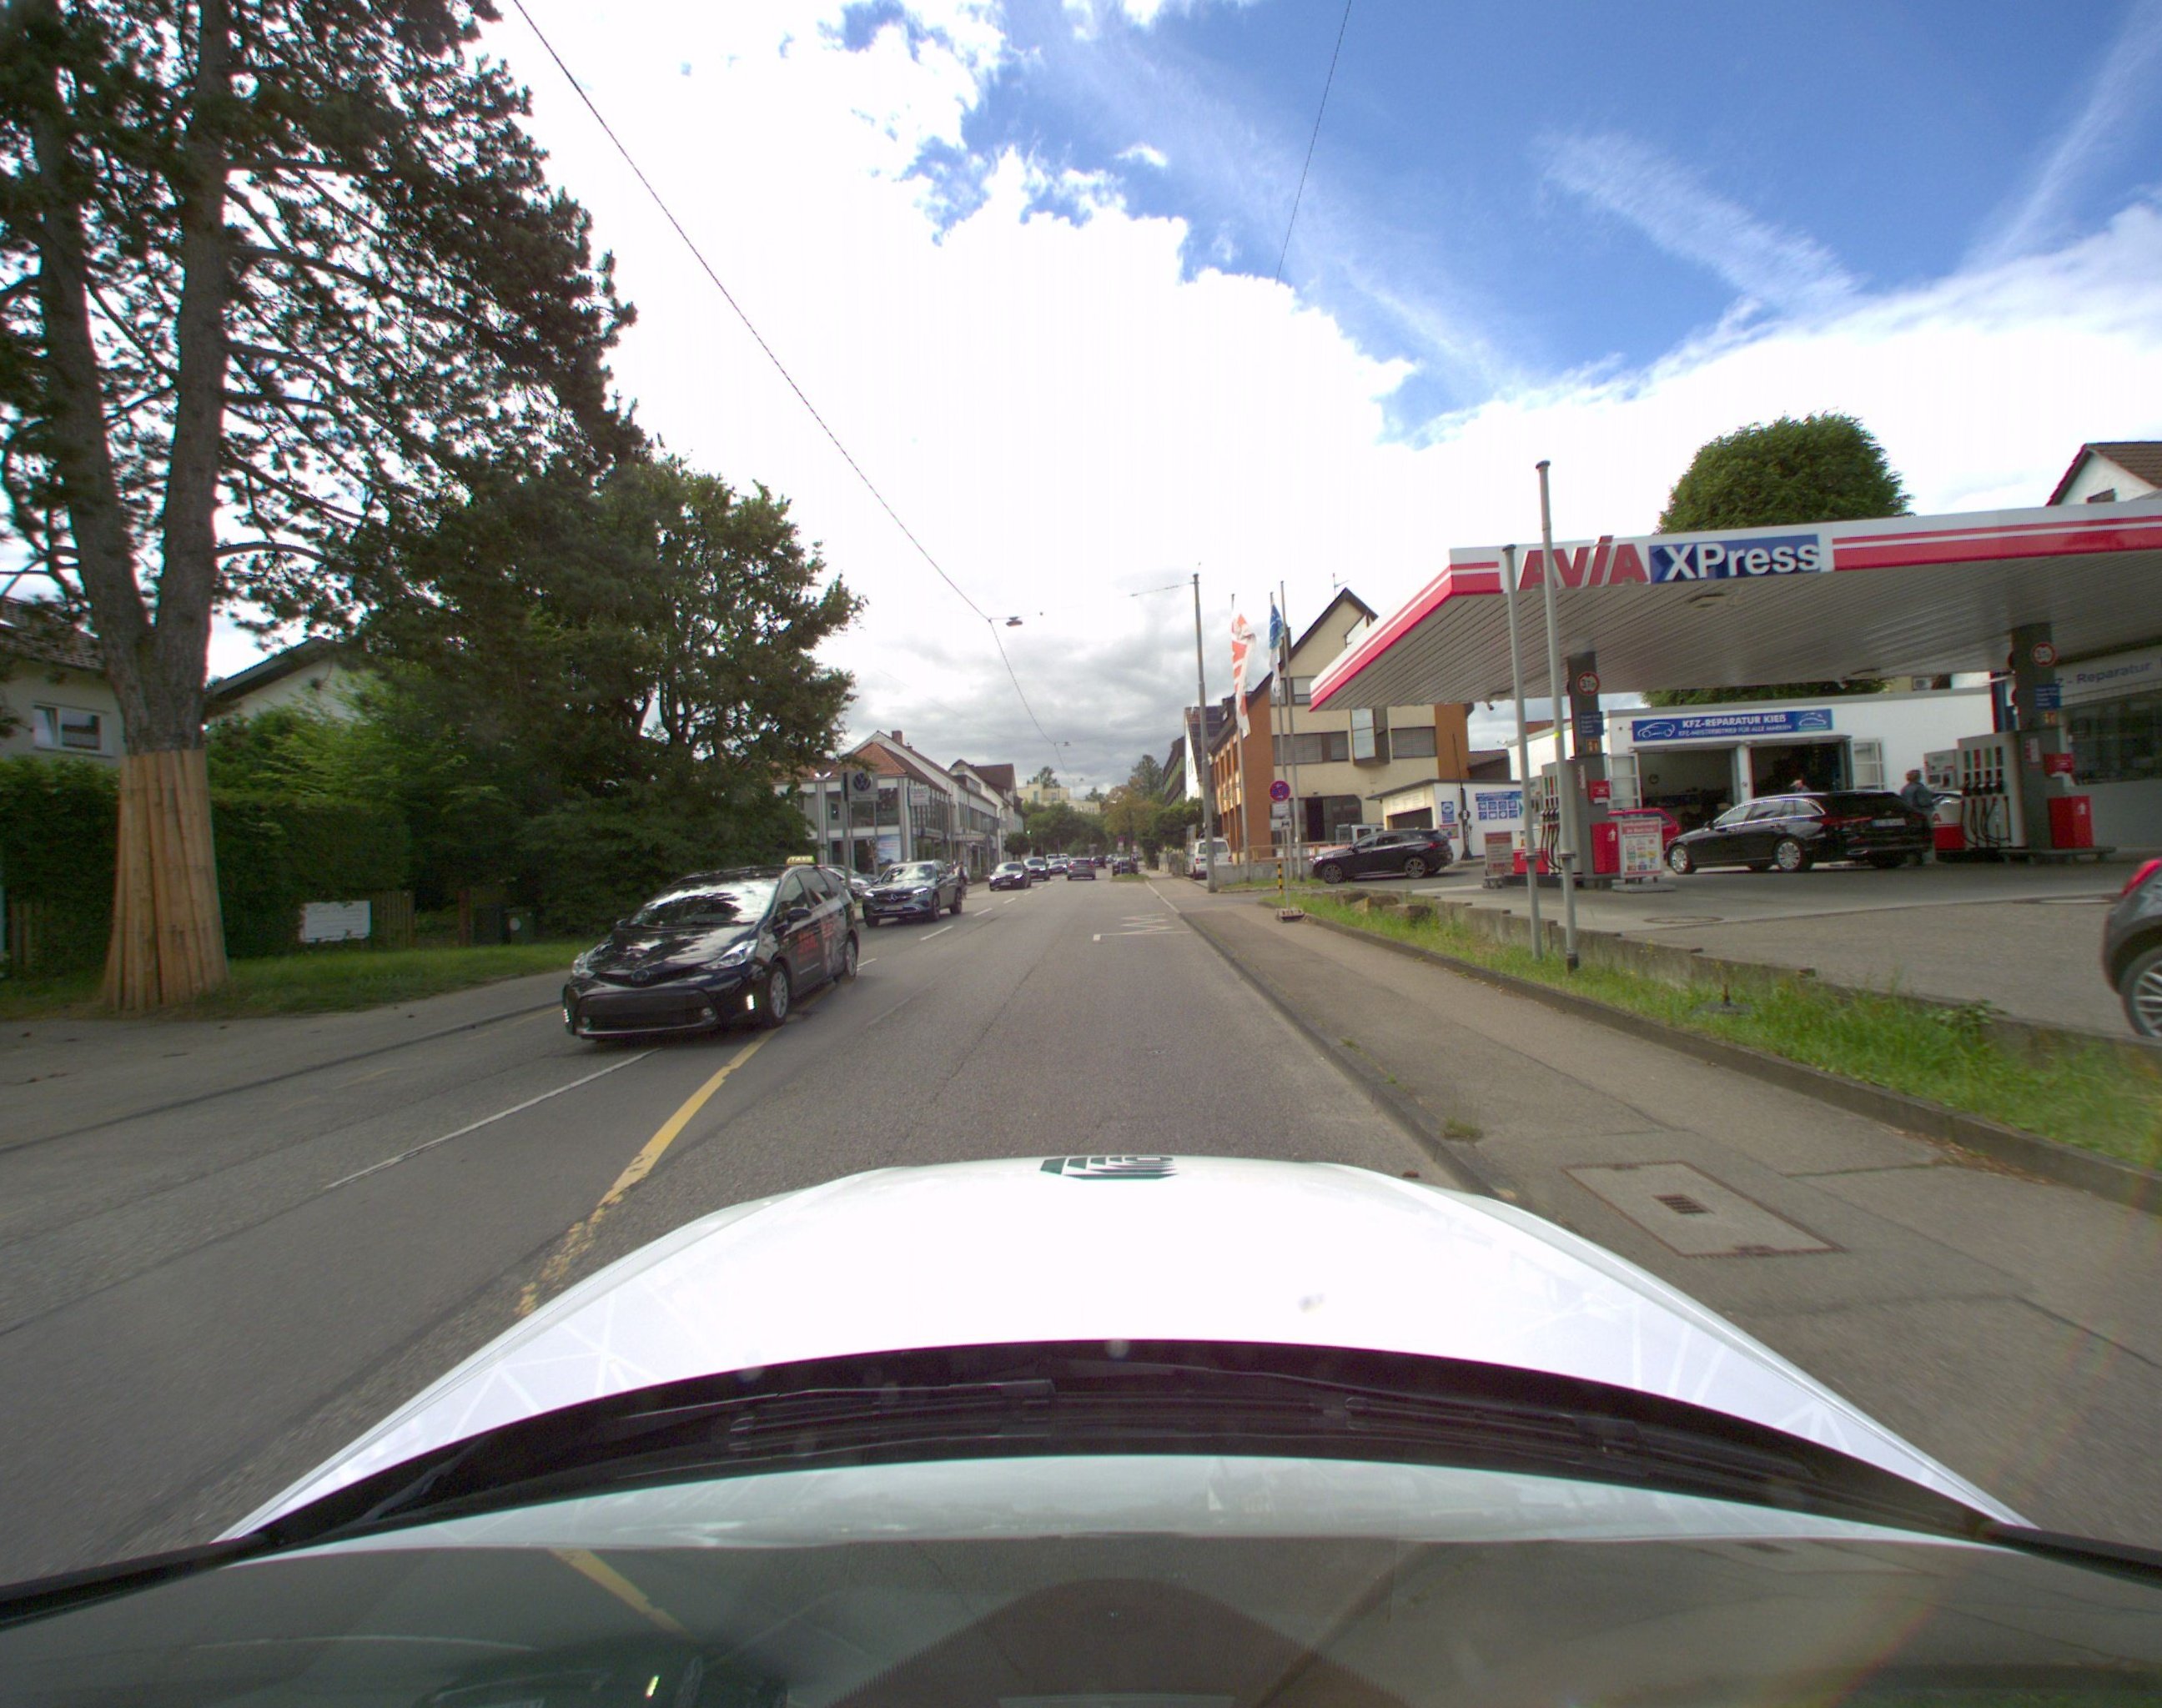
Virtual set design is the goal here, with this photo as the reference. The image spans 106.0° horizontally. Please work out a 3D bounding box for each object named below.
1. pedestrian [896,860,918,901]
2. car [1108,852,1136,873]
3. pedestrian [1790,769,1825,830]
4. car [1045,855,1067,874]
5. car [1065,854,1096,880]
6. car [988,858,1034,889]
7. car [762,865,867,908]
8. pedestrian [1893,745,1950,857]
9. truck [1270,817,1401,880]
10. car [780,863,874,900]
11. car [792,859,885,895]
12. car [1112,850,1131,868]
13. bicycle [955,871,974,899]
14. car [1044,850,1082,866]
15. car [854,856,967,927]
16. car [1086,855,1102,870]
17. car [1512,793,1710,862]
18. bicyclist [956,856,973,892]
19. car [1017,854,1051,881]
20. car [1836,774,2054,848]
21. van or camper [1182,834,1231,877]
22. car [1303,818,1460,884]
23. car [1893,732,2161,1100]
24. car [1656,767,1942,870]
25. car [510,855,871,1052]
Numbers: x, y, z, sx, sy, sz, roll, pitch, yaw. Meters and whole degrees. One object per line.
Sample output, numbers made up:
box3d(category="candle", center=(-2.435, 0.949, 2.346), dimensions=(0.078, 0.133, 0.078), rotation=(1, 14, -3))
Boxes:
box3d(category="pedestrian", center=(-7.489, 1.151, 35.127), dimensions=(0.680, 1.737, 0.868), rotation=(-2, -1, 1))
box3d(category="car", center=(3.093, 0.674, 62.081), dimensions=(1.976, 1.448, 4.754), rotation=(-3, -1, 2))
box3d(category="pedestrian", center=(22.713, -1.694, 25.469), dimensions=(0.688, 1.845, 0.666), rotation=(-1, -2, -42))
box3d(category="car", center=(-2.177, 0.951, 71.868), dimensions=(1.825, 1.523, 4.169), rotation=(-3, -1, 0))
box3d(category="car", center=(0.000, 0.917, 54.254), dimensions=(1.949, 1.523, 4.328), rotation=(-2, -3, 1))
box3d(category="car", center=(-3.652, 1.016, 43.330), dimensions=(1.733, 1.429, 4.527), rotation=(-4, 0, 3))
box3d(category="car", center=(-11.061, 1.340, 33.982), dimensions=(3.727, 1.518, 1.729), rotation=(-3, 0, 0))
box3d(category="pedestrian", center=(14.998, -0.920, 14.545), dimensions=(0.579, 1.935, 0.544), rotation=(-3, -2, 39))
box3d(category="truck", center=(11.245, -0.261, 36.303), dimensions=(5.068, 2.457, 2.358), rotation=(-3, 1, 2))
box3d(category="car", center=(-11.400, 1.209, 36.669), dimensions=(3.727, 1.560, 1.534), rotation=(-1, 0, 0))
box3d(category="car", center=(-11.740, 1.113, 39.571), dimensions=(3.999, 1.630, 1.654), rotation=(-1, 0, 0))
box3d(category="car", center=(4.063, 0.492, 81.354), dimensions=(1.682, 1.666, 4.467), rotation=(-3, -1, 4))
box3d(category="bicycle", center=(-4.916, 1.302, 34.447), dimensions=(0.453, 1.087, 1.869), rotation=(-4, 0, -1))
box3d(category="car", center=(-2.772, 0.669, 124.779), dimensions=(5.168, 1.993, 2.119), rotation=(-5, -1, 20))
box3d(category="car", center=(-4.610, 0.952, 22.800), dimensions=(1.858, 1.617, 4.539), rotation=(-4, 0, 3))
box3d(category="car", center=(1.462, 1.000, 90.510), dimensions=(1.609, 1.523, 3.568), rotation=(-3, -1, 0))
box3d(category="car", center=(15.399, -0.710, 23.968), dimensions=(4.553, 1.717, 1.835), rotation=(-2, -1, 22))
box3d(category="bicyclist", center=(-4.937, 0.848, 34.543), dimensions=(0.468, 1.449, 0.864), rotation=(-5, 0, -1))
box3d(category="car", center=(-3.189, 0.889, 55.923), dimensions=(1.824, 1.630, 4.322), rotation=(-3, 0, 2))
box3d(category="car", center=(22.044, -1.105, 20.892), dimensions=(3.726, 1.440, 1.623), rotation=(-6, 3, 4))
box3d(category="van or camper", center=(6.388, 0.134, 41.853), dimensions=(1.860, 2.032, 4.548), rotation=(-2, -1, 1))
box3d(category="car", center=(9.542, -0.081, 26.030), dimensions=(4.263, 1.630, 1.646), rotation=(-6, 0, 37))
box3d(category="car", center=(5.435, 0.185, 2.581), dimensions=(1.608, 1.595, 4.165), rotation=(-9, -1, 5))
box3d(category="car", center=(13.463, -0.546, 15.730), dimensions=(1.623, 1.608, 4.575), rotation=(-3, -2, 4))
box3d(category="car", center=(-3.843, 0.842, 9.075), dimensions=(1.861, 1.527, 4.524), rotation=(-3, 0, -2))
